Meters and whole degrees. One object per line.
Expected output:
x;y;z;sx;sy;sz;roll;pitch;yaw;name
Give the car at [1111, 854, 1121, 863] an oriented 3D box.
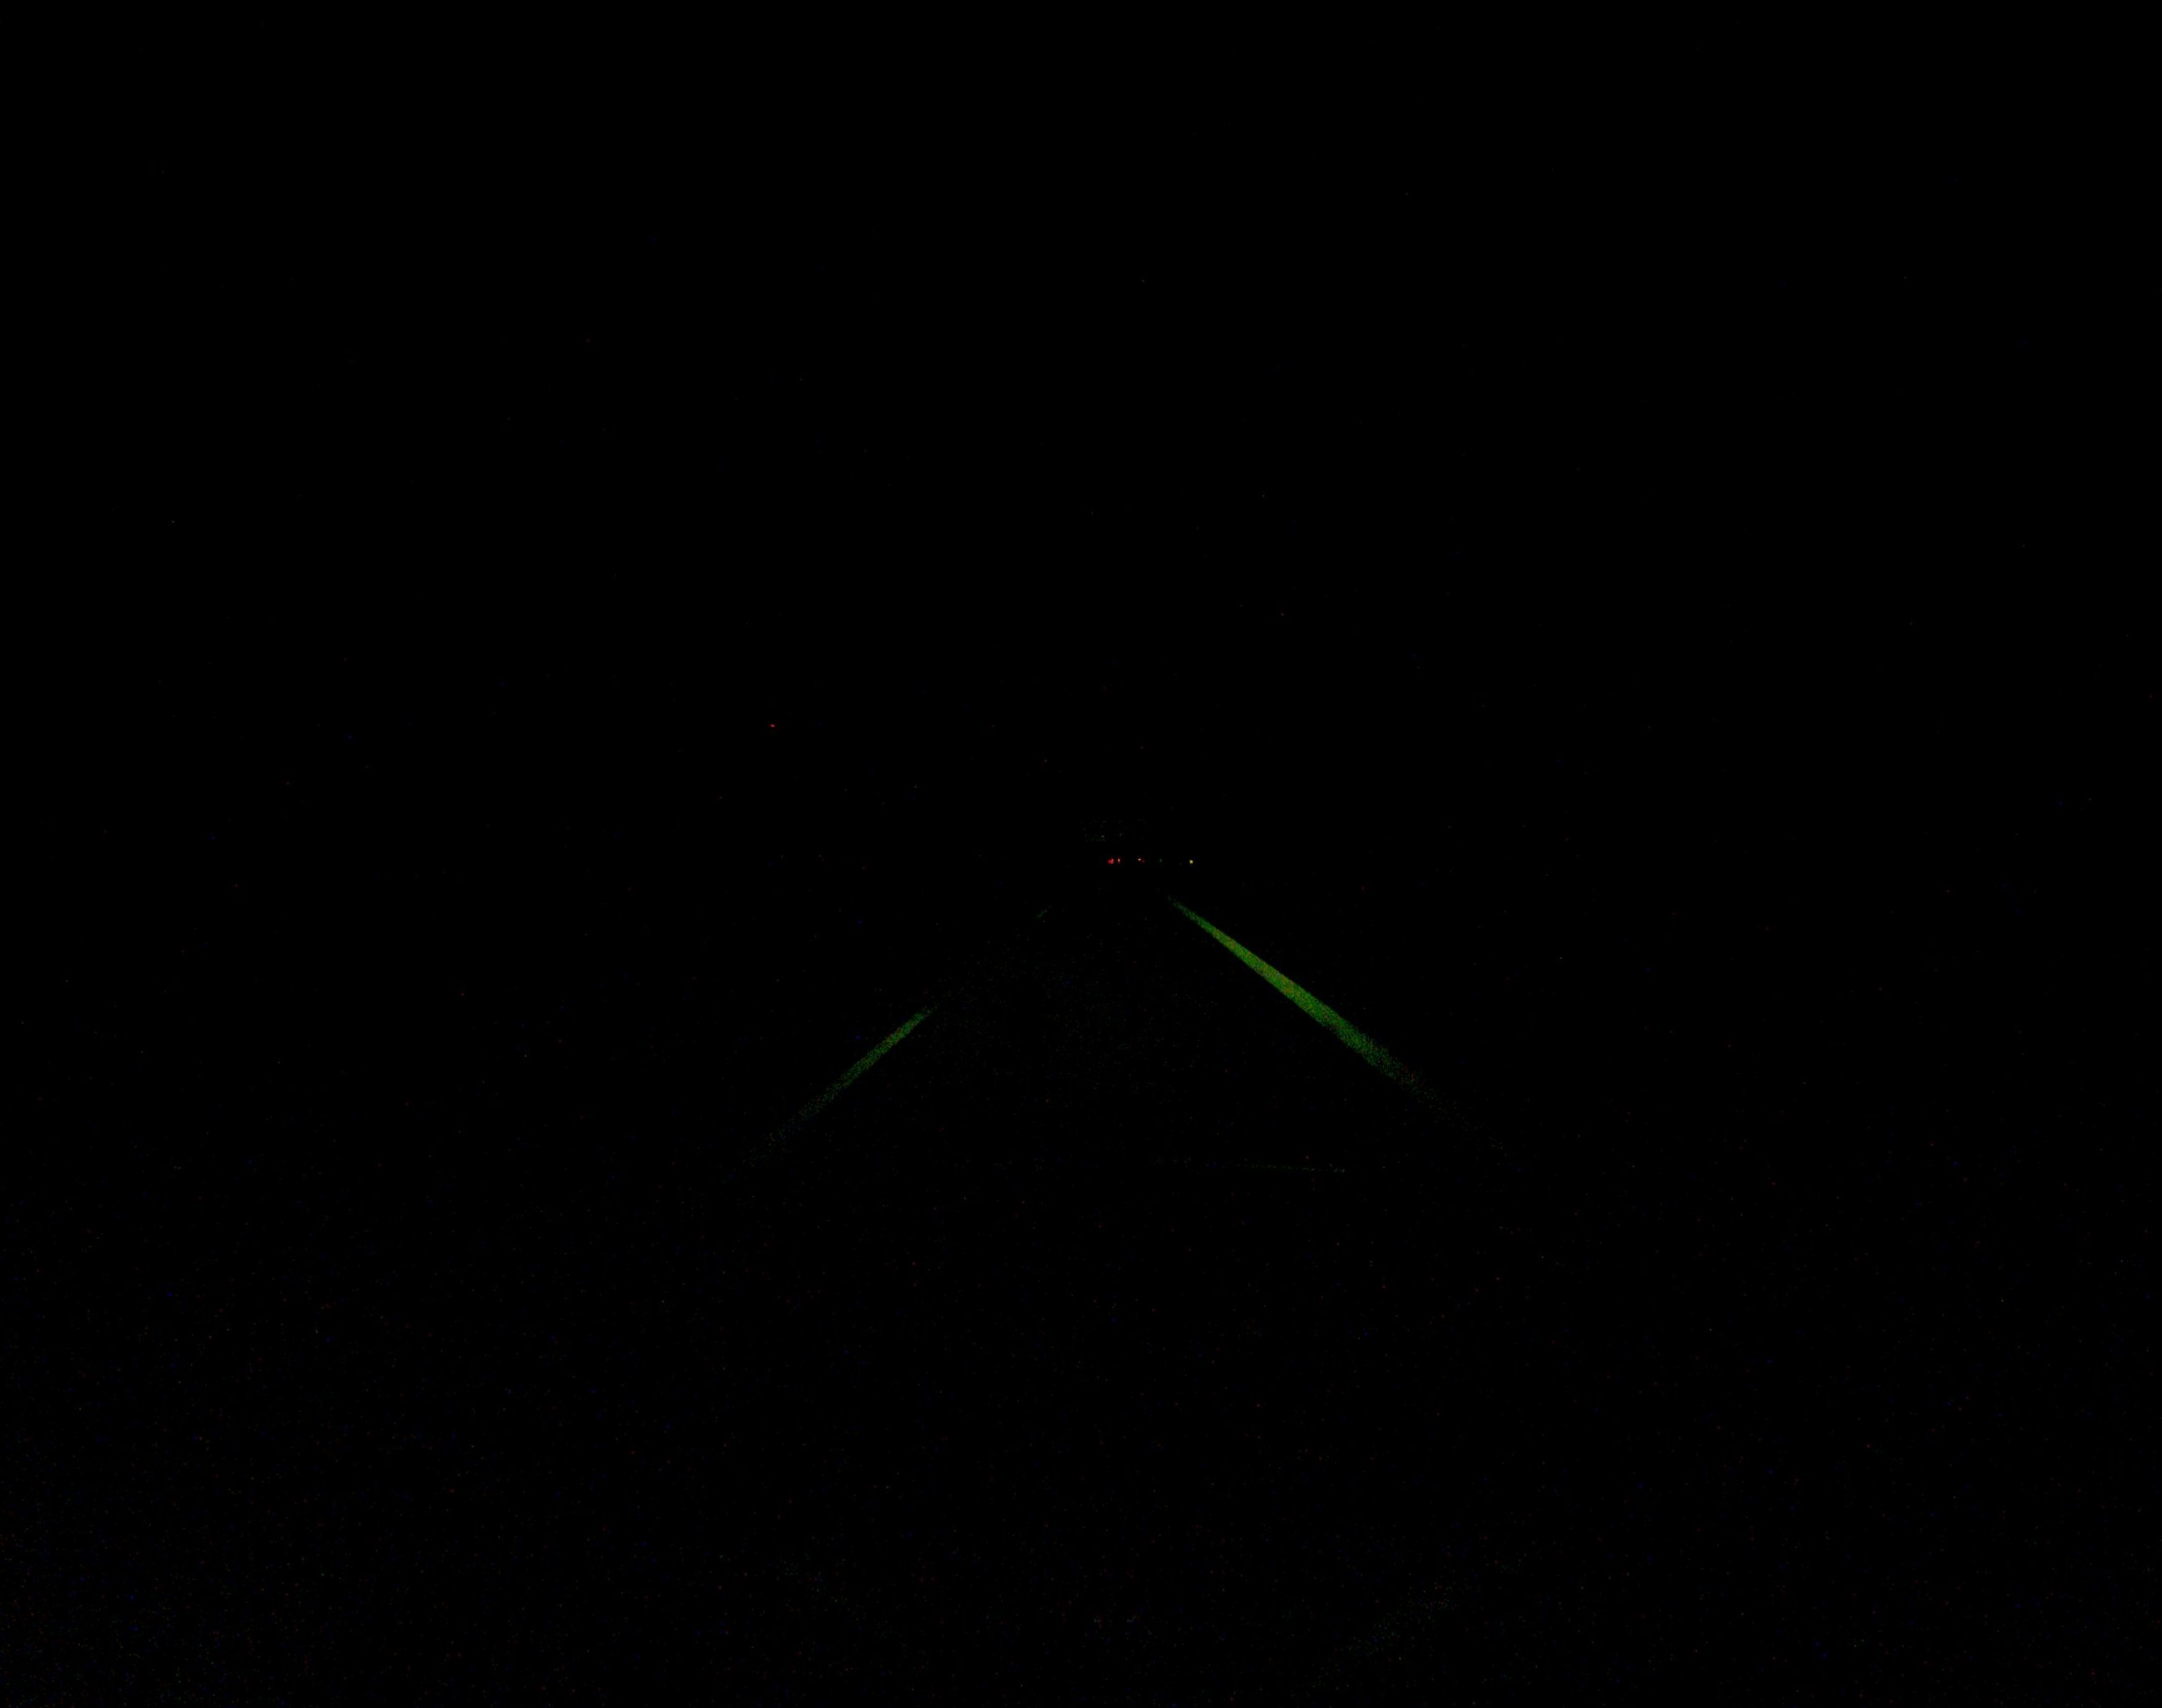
10.041;1.317;236.091;2.498;2.314;4.978;-1;-1;6;car
